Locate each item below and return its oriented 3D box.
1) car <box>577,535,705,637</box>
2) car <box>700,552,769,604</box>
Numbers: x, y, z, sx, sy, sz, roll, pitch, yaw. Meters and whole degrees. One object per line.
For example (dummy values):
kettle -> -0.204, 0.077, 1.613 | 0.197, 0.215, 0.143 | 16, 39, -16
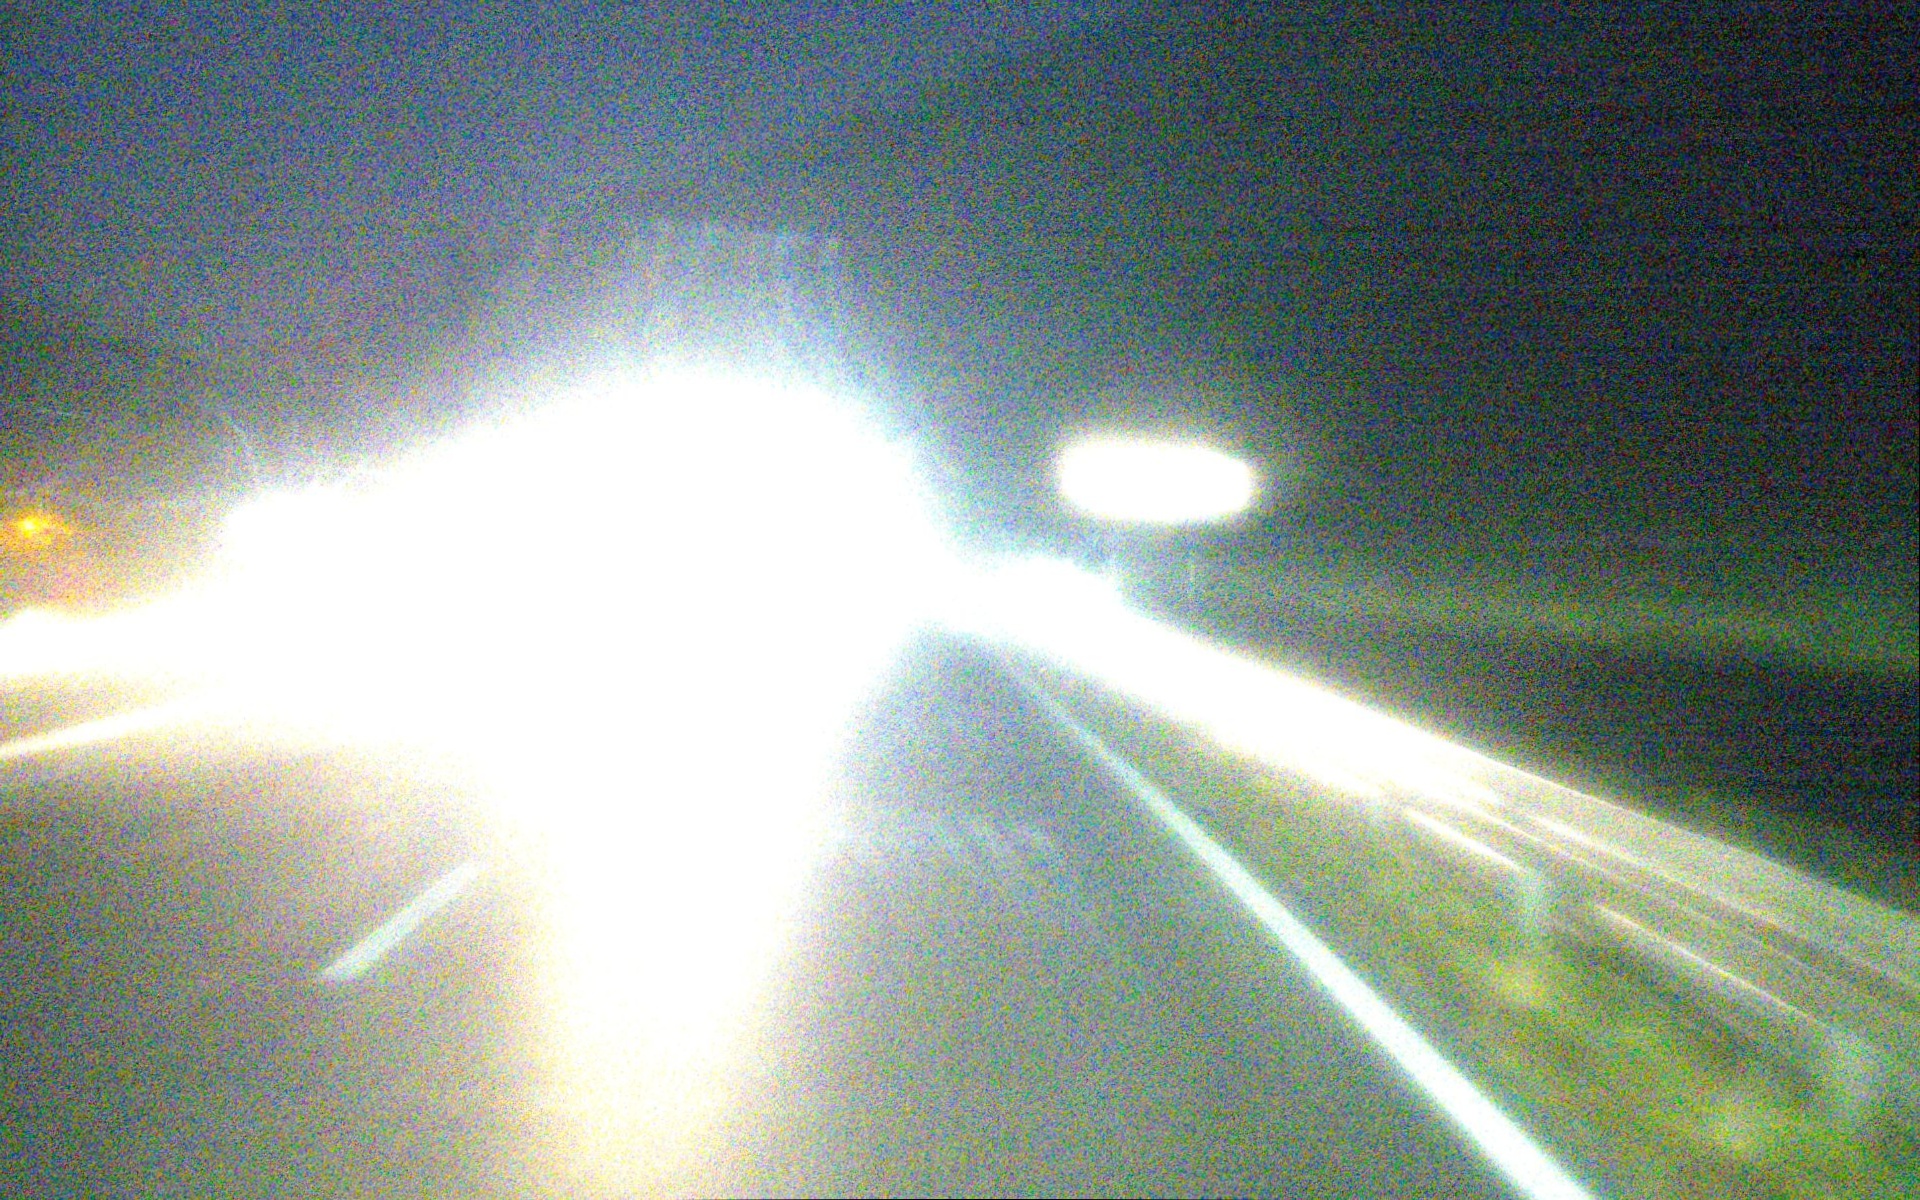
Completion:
car -> -5.245, -0.266, 56.910 | 1.868, 1.607, 3.847 | 1, 1, -2
car -> -6.593, -0.651, 100.935 | 1.868, 1.443, 4.393 | 1, 1, -2
